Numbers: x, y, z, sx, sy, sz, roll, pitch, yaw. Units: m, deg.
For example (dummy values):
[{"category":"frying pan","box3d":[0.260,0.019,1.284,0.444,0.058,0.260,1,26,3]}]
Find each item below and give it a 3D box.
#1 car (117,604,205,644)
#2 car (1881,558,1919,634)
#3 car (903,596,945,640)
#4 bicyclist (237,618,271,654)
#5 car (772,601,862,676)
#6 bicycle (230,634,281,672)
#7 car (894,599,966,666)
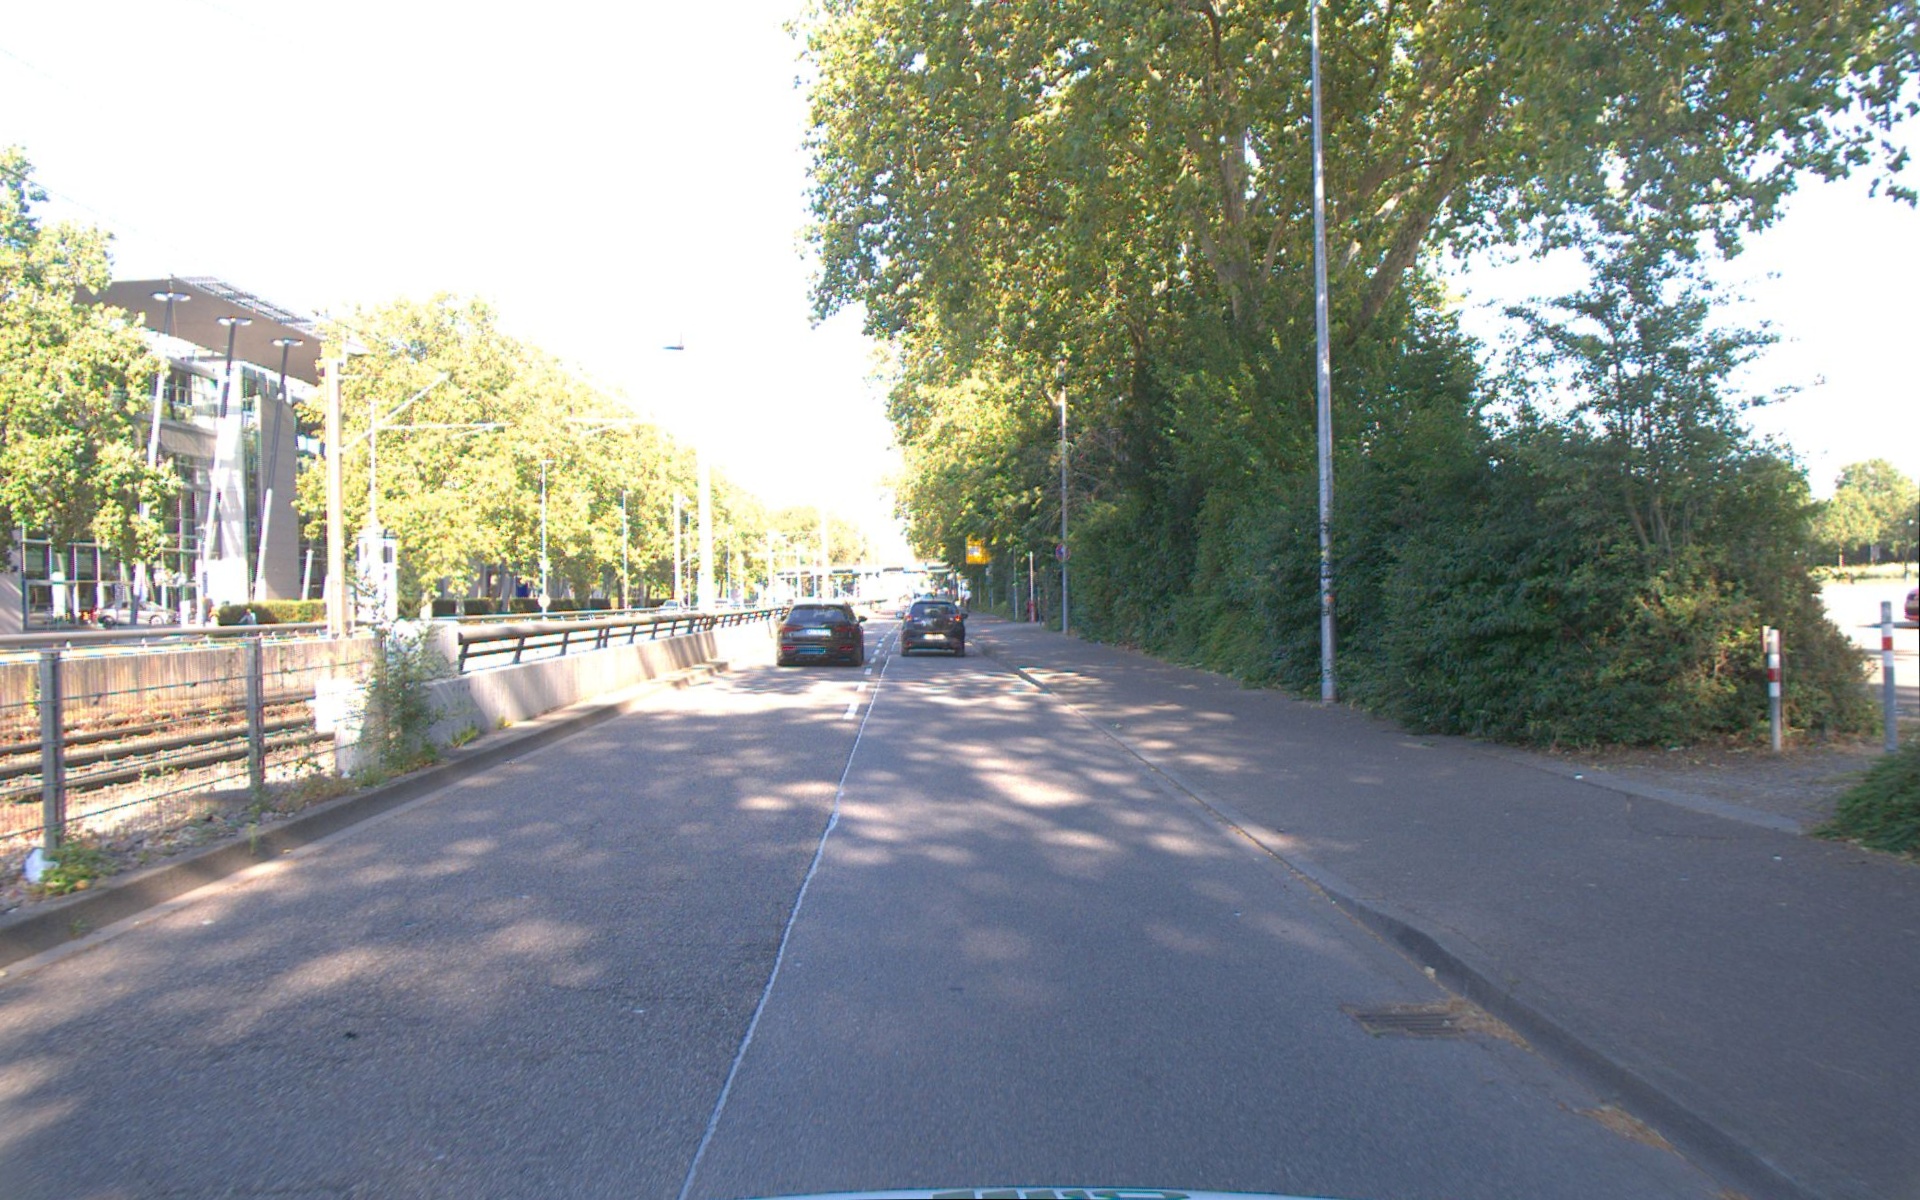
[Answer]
[{"category":"car","box3d":[-44.882,1.348,92.940,3.907,2.049,1.999,-2,0,-2]},{"category":"car","box3d":[21.704,-0.121,34.761,3.763,1.557,1.740,-1,0,-5]},{"category":"car","box3d":[-1.735,0.847,80.630,1.953,2.049,3.999,-2,0,-1]},{"category":"bicyclist","box3d":[-30.234,1.535,70.828,0.911,1.512,1.271,-2,0,-3]},{"category":"car","box3d":[-3.131,0.815,36.696,1.841,1.482,3.354,-2,0,-3]},{"category":"bicycle","box3d":[-30.218,2.254,70.956,0.911,1.512,3.175,-2,0,-3]},{"category":"car","box3d":[-0.852,0.821,43.984,1.728,1.647,3.998,-2,0,-3]}]
